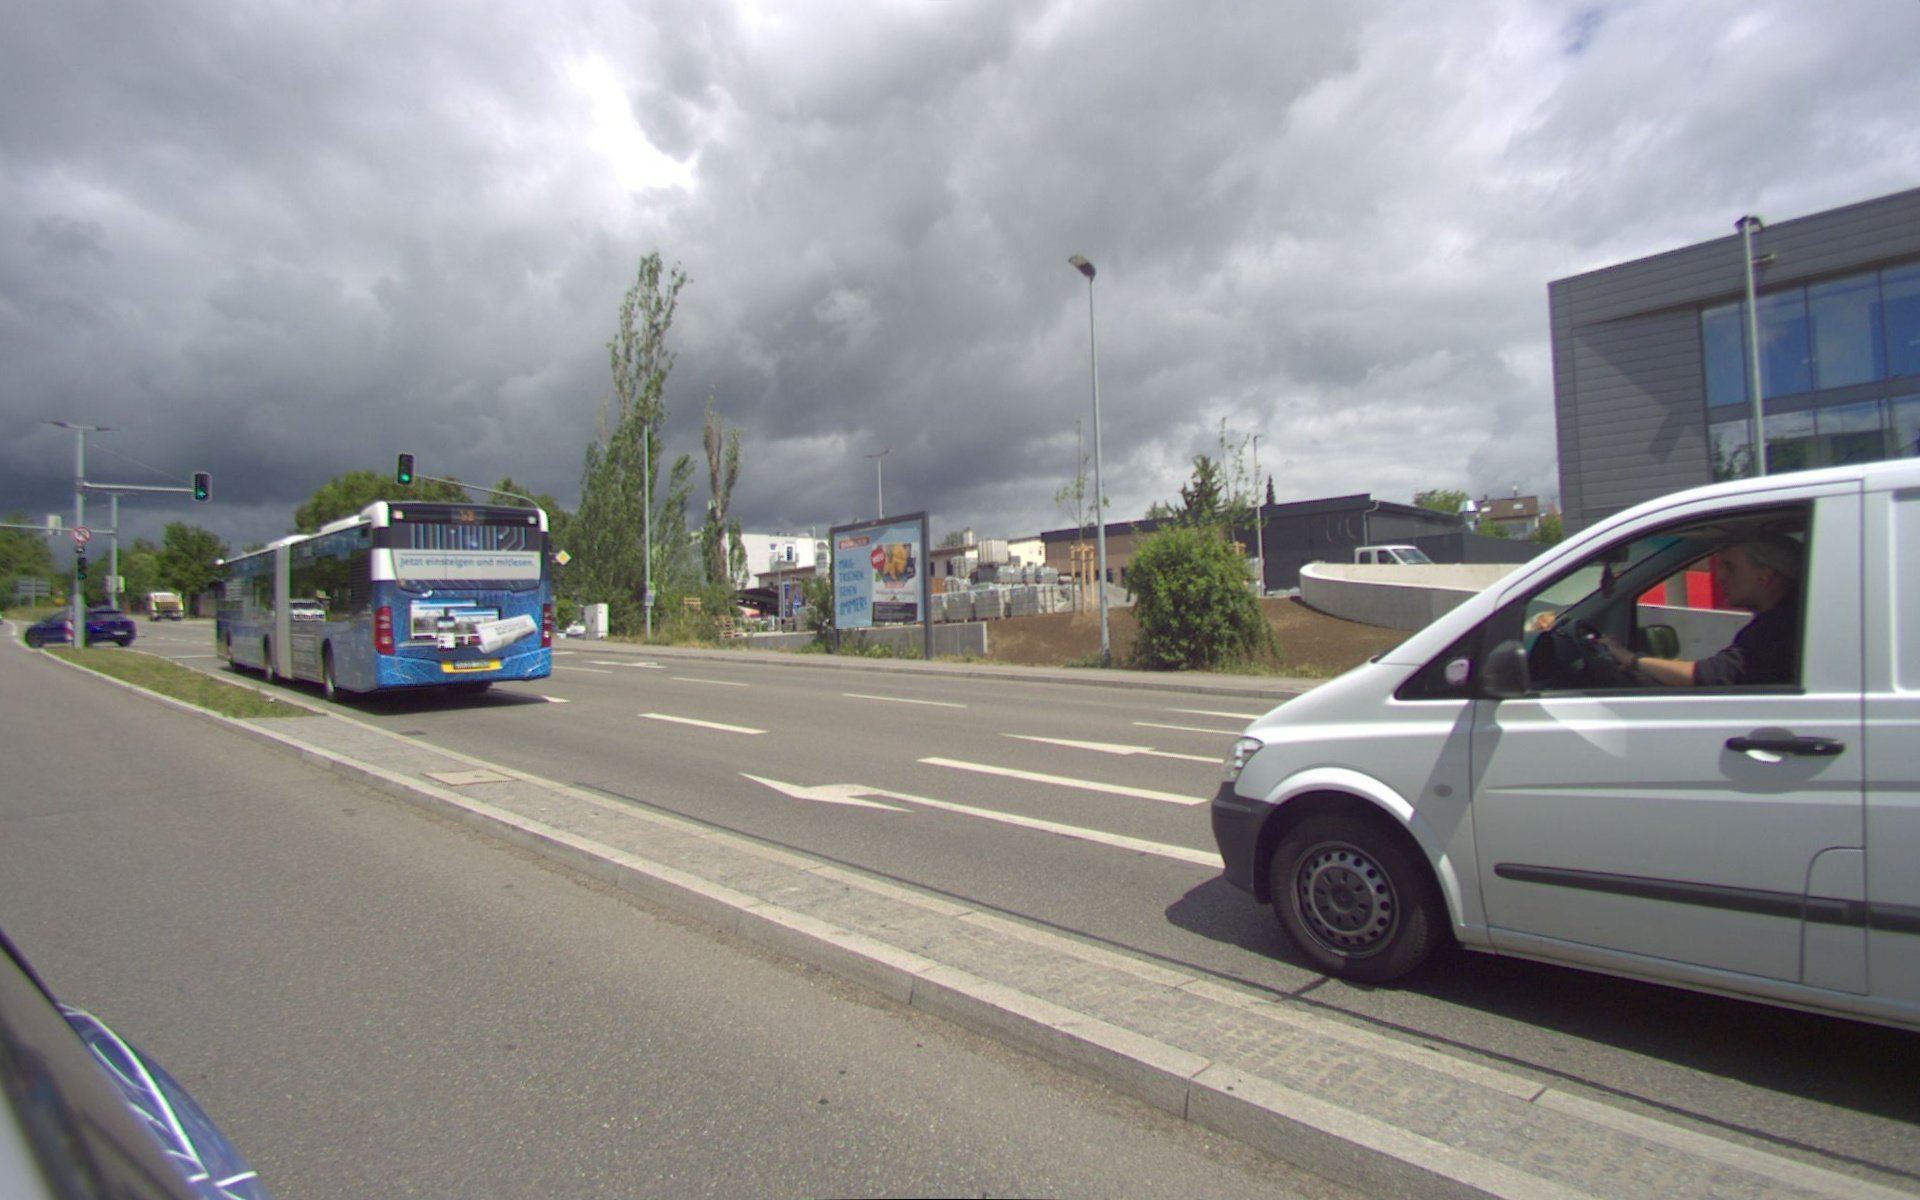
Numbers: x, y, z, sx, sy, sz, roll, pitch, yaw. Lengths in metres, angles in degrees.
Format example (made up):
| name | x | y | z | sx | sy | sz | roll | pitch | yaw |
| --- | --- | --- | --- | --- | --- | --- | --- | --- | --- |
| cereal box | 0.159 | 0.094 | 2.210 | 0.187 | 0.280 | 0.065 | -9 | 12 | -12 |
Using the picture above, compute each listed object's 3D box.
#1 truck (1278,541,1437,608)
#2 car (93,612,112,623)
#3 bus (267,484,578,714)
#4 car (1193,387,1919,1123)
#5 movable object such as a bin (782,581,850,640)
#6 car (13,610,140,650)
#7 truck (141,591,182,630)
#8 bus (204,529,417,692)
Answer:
| name | x | y | z | sx | sy | sz | roll | pitch | yaw |
| --- | --- | --- | --- | --- | --- | --- | --- | --- | --- |
| truck | 17.257 | -1.039 | 44.402 | 1.966 | 2.162 | 6.600 | -1 | -5 | -29 |
| car | -112.714 | 2.293 | 132.988 | 1.671 | 1.411 | 4.003 | 1 | -2 | -44 |
| bus | -10.058 | 0.118 | 18.257 | 2.782 | 3.188 | 8.916 | 0 | -2 | -43 |
| car | 3.305 | 0.402 | 3.194 | 1.855 | 1.939 | 4.755 | 0 | -2 | -43 |
| movable object such as a bin | -6.578 | 0.482 | 45.946 | 2.115 | 2.557 | 3.426 | 0 | -1 | -26 |
| car | -35.711 | 1.219 | 40.922 | 4.358 | 1.522 | 1.801 | -2 | -1 | 16 |
| truck | -88.417 | 1.232 | 112.023 | 2.805 | 3.606 | 6.971 | 1 | -6 | -44 |
| bus | -16.528 | 0.279 | 25.301 | 2.782 | 3.310 | 10.131 | 0 | -1 | -43 |
